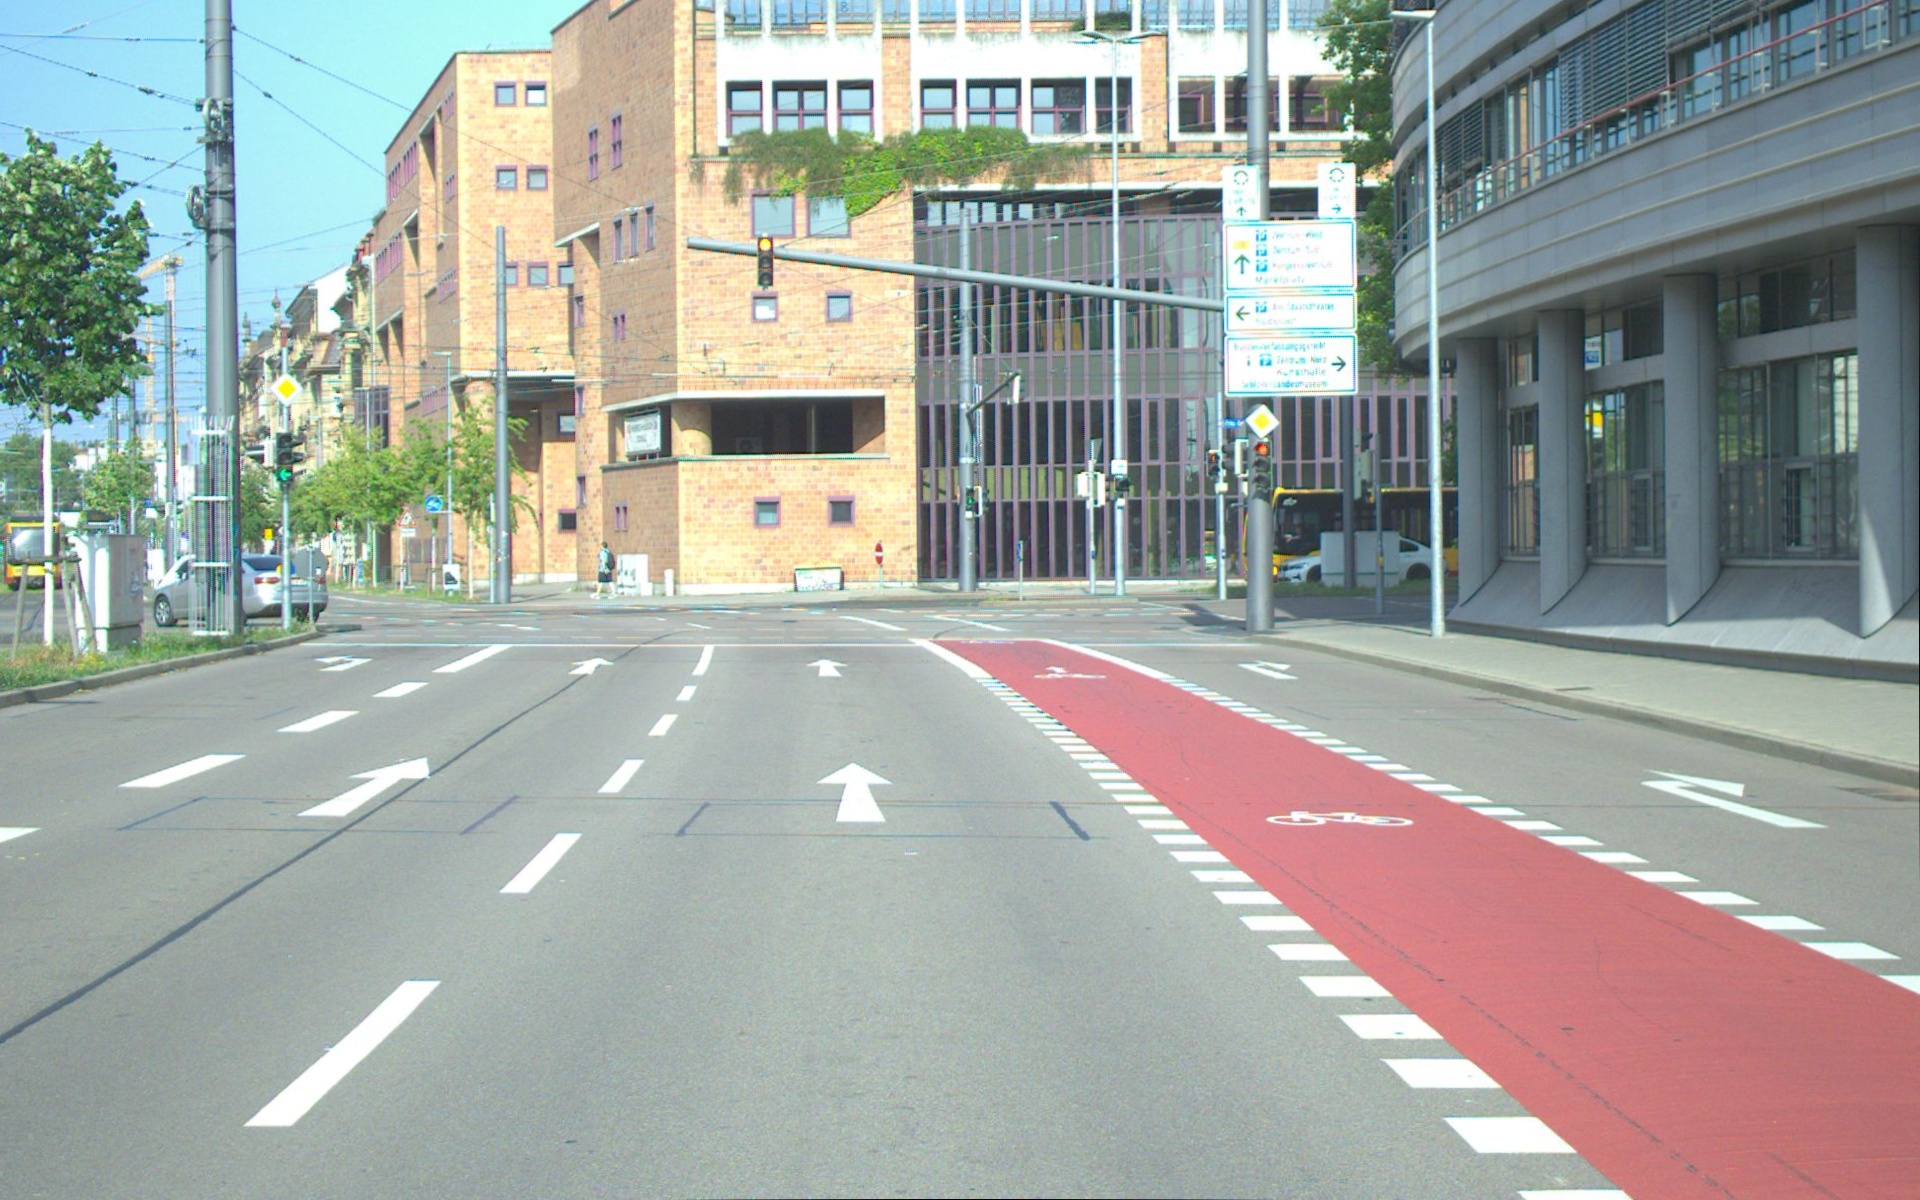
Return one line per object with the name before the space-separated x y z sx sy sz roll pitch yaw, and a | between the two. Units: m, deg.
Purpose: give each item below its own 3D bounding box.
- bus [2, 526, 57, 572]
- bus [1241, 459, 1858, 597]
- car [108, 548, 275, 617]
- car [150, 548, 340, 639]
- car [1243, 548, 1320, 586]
bus | -41.436 -2.253 153.033 1.993 2.007 4.001 -1 1 -20
bus | 17.036 -2.075 99.209 17.605 3.797 2.866 -1 -1 -11
car | -17.871 -0.386 79.914 3.441 1.536 1.733 -1 -1 25
car | -14.339 -0.124 68.869 3.887 1.749 1.706 -1 0 41
car | 8.751 -0.899 93.576 1.951 0.955 1.094 1 -2 -3
